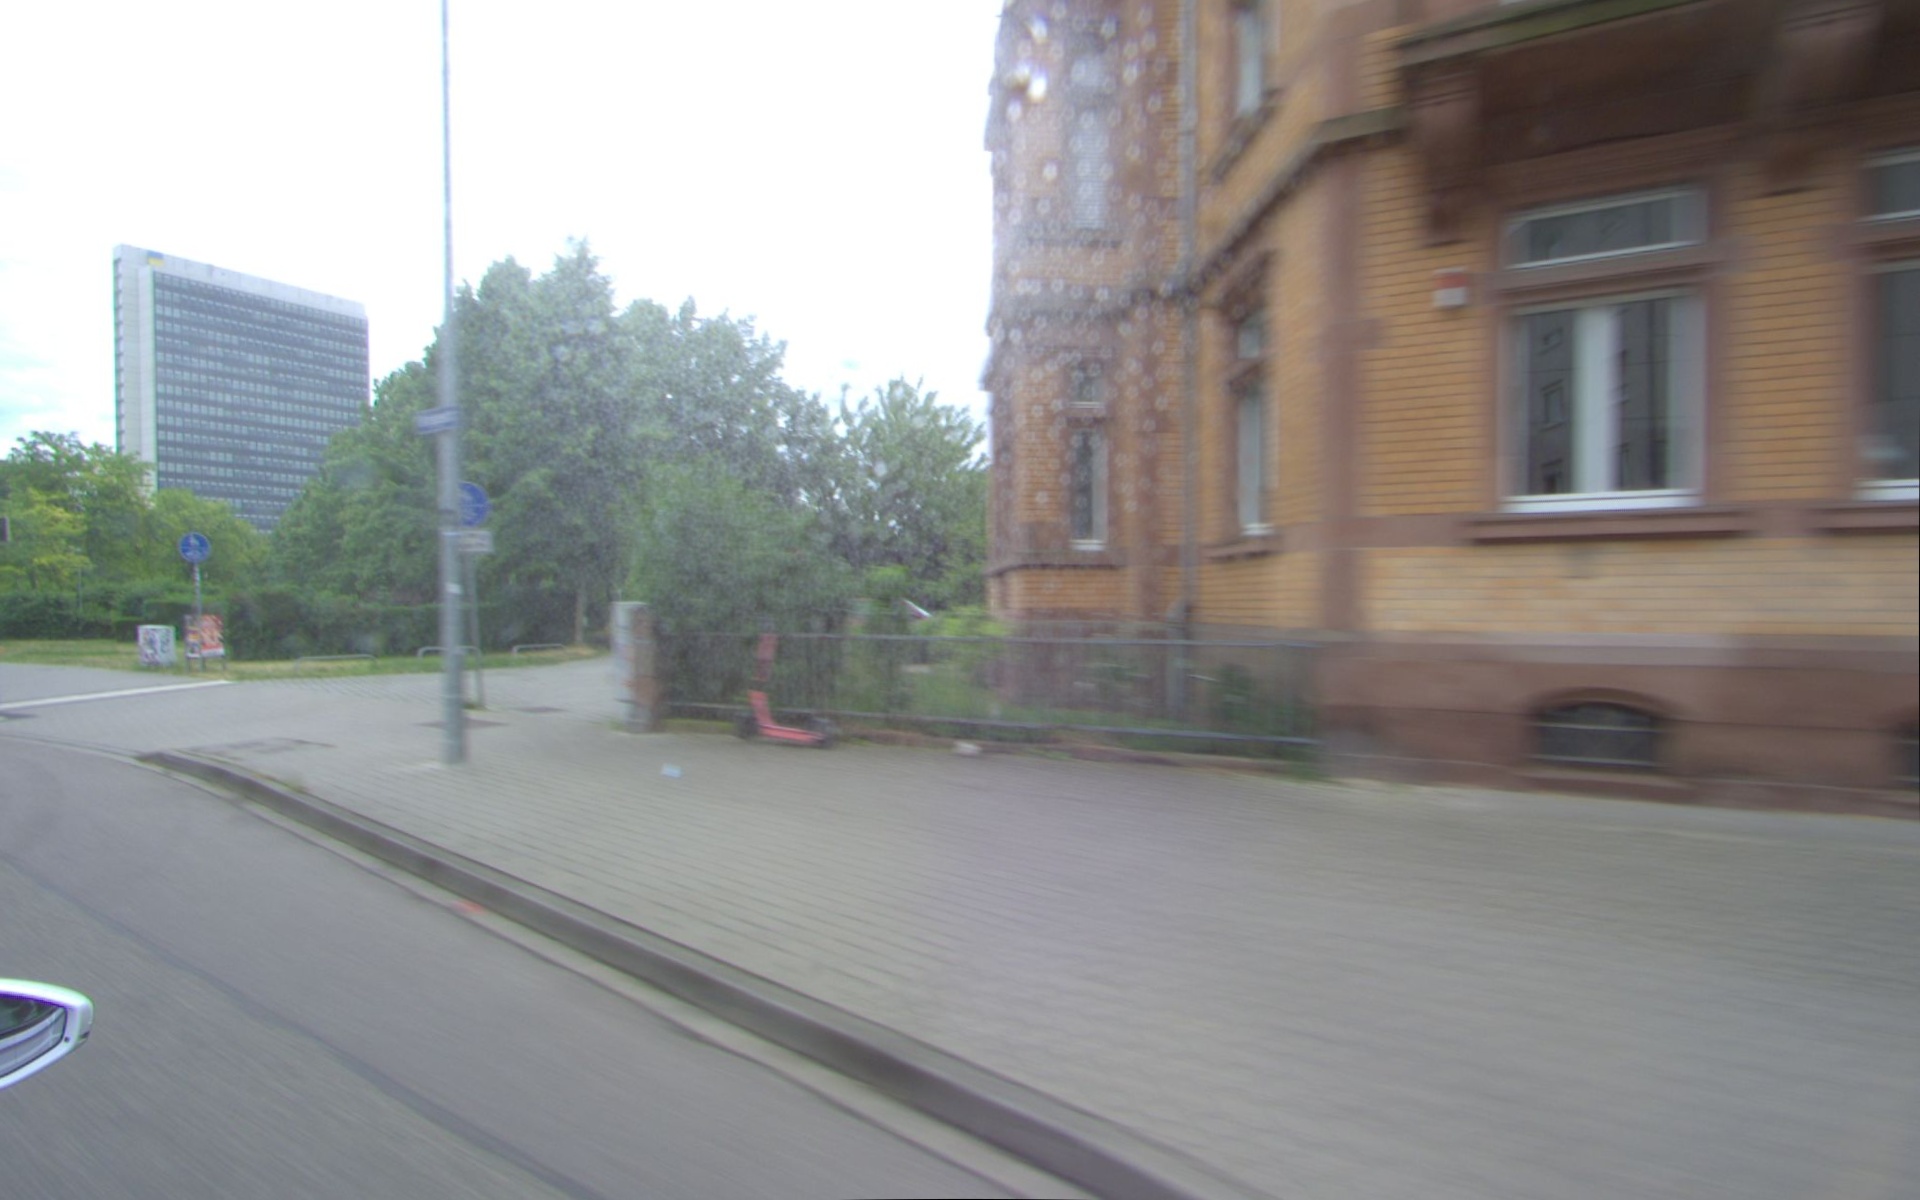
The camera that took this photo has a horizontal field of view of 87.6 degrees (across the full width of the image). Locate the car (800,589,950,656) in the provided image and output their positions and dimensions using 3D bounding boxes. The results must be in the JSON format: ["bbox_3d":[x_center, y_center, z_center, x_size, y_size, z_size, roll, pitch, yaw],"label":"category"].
[{"bbox_3d":[-1.965,0.523,24.010,3.418,1.471,1.691,-1,1,0],"label":"car"}]

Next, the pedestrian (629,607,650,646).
[{"bbox_3d":[-10.179,0.840,31.786,0.581,1.199,0.626,0,1,-14],"label":"pedestrian"}]

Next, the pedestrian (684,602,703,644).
[{"bbox_3d":[-8.771,0.746,33.004,0.581,1.376,0.626,0,1,-14],"label":"pedestrian"}]

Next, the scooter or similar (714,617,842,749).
[{"bbox_3d":[-1.706,0.751,9.359,1.180,1.156,0.376,0,1,25],"label":"scooter or similar"}]
